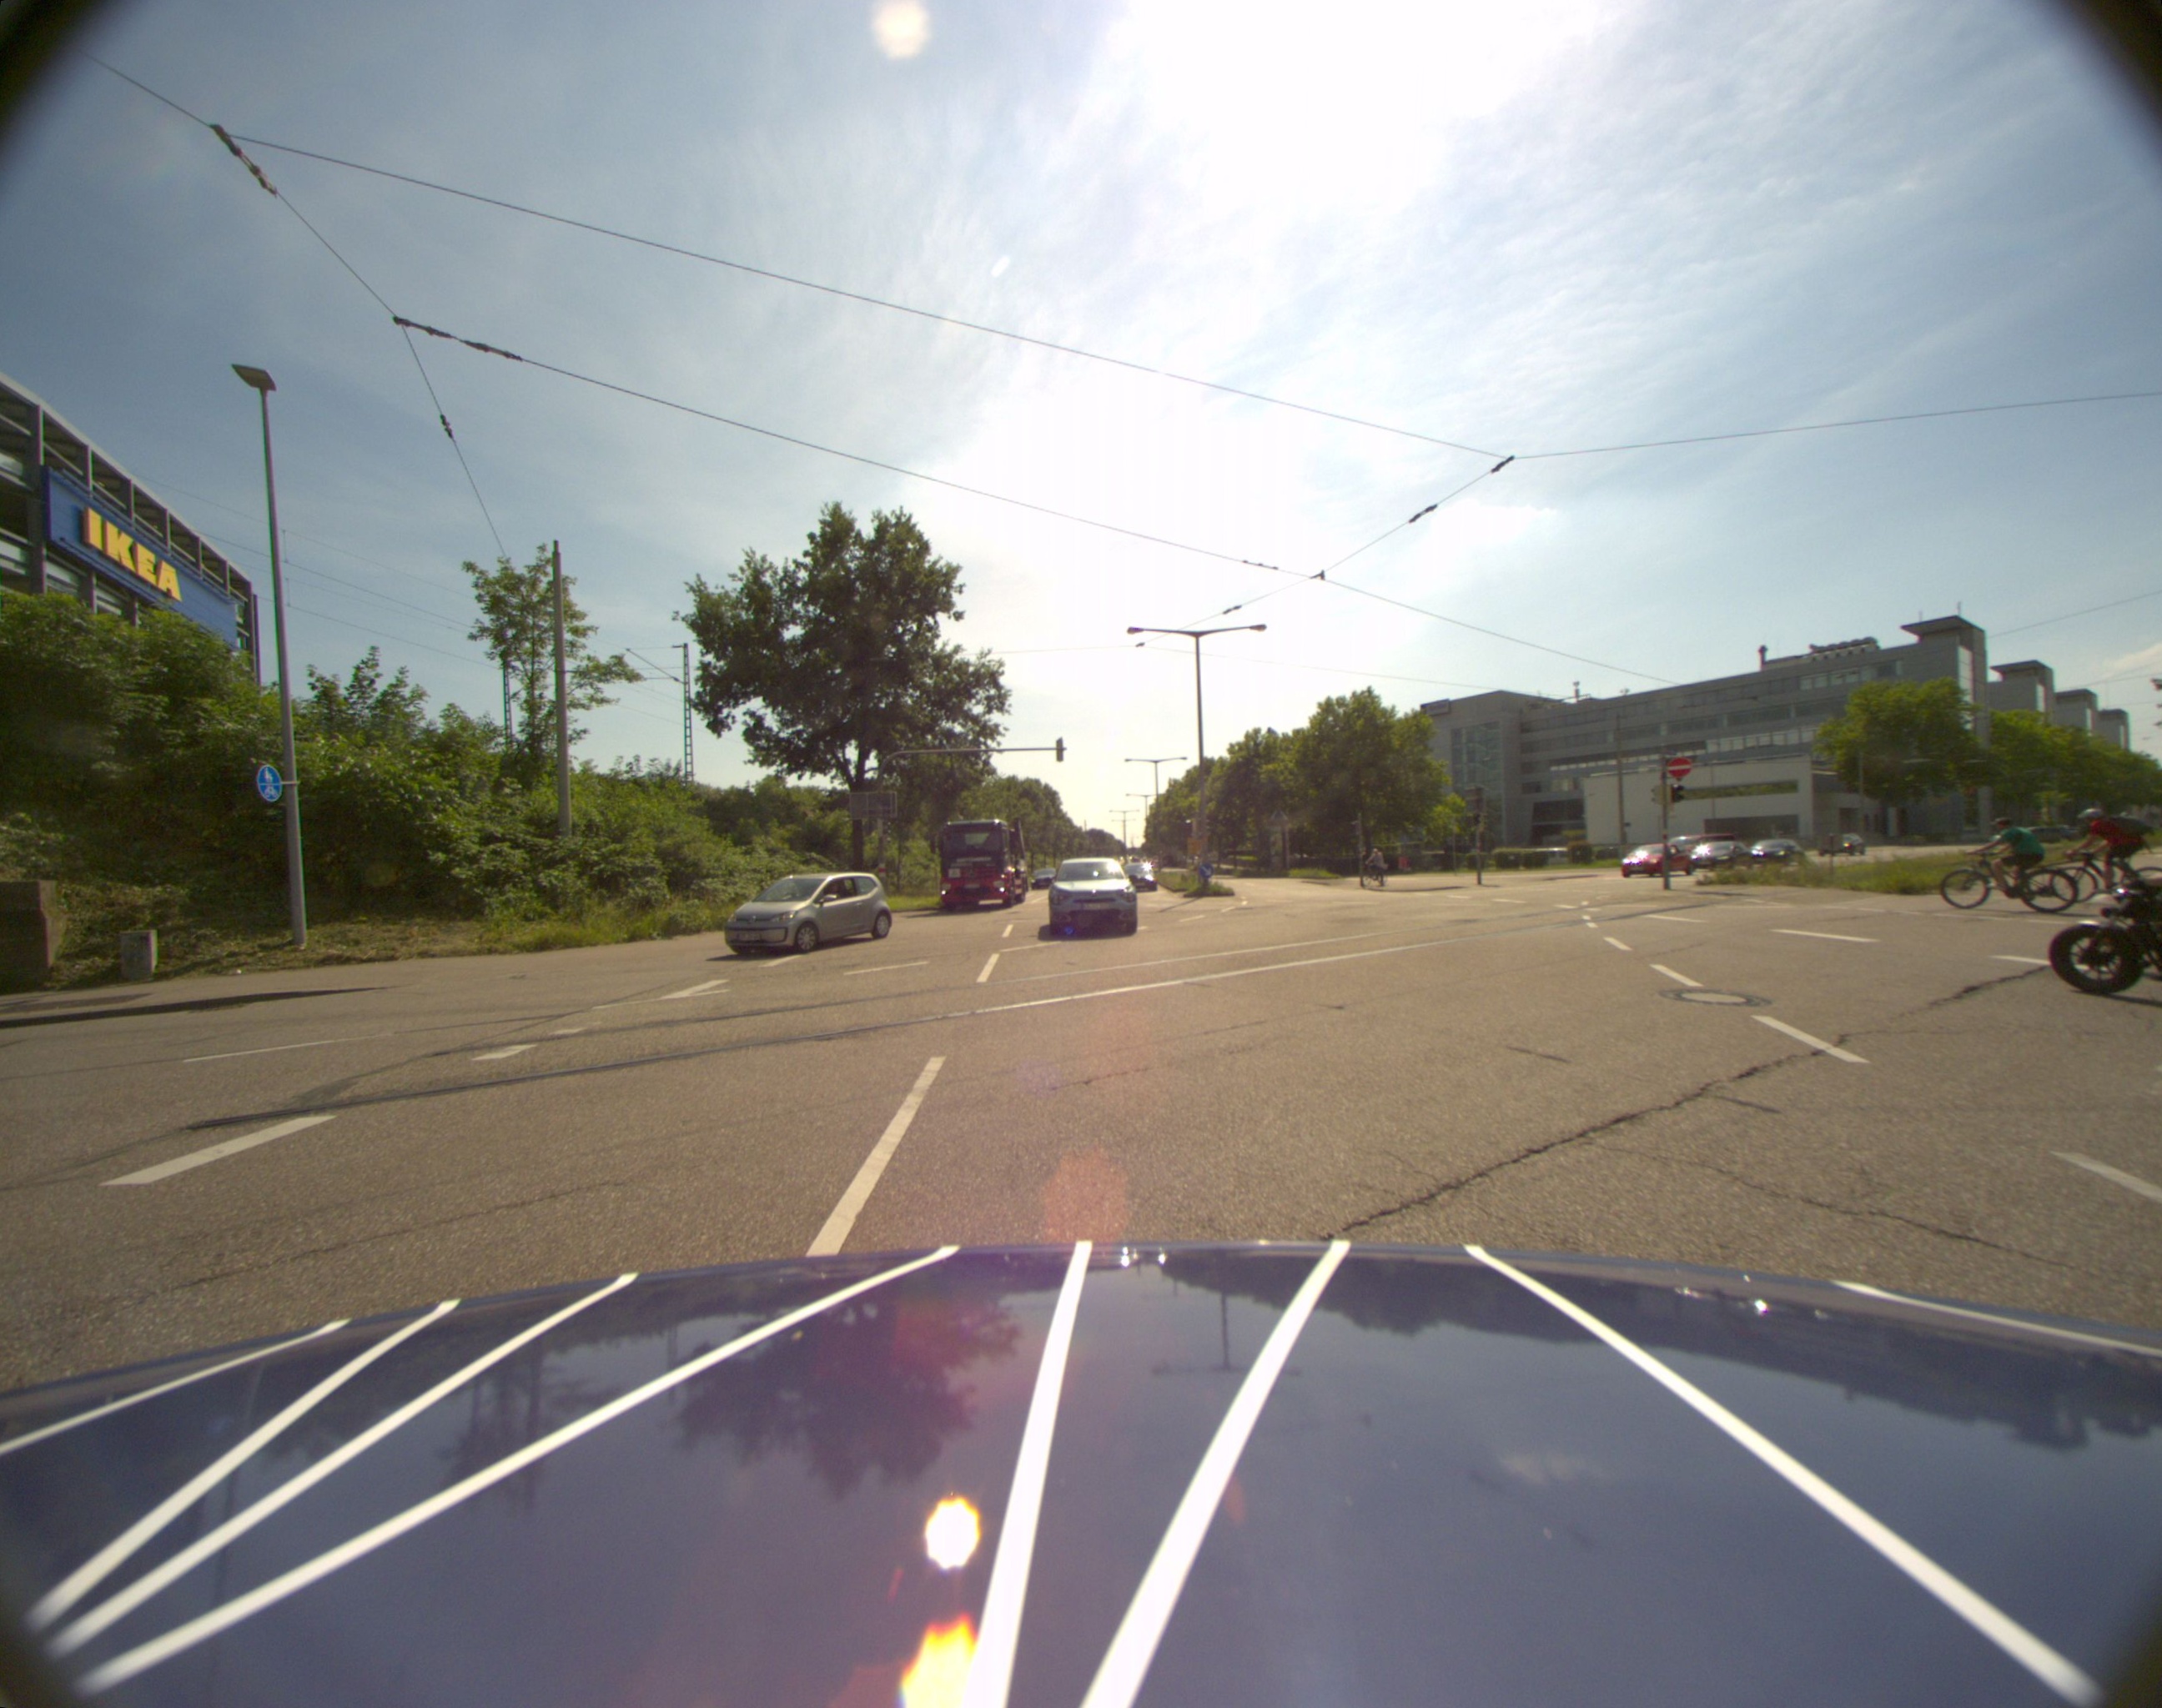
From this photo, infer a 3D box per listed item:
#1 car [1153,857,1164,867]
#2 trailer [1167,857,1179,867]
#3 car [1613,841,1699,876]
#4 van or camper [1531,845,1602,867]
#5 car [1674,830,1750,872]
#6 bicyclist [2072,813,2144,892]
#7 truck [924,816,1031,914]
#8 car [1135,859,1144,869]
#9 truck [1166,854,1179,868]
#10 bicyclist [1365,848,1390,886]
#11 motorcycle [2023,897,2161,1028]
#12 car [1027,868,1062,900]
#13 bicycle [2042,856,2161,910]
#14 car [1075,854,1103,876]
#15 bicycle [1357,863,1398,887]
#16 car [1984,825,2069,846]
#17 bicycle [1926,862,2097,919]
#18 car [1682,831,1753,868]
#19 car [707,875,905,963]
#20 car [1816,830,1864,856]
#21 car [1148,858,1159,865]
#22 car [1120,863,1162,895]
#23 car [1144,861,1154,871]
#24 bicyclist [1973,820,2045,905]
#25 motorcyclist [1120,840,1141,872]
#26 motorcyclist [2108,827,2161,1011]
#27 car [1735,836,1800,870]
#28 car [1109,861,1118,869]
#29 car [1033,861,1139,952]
[{"bbox_3d":[13.240,1.371,129.955,1.653,1.505,3.737,-2,0,2],"label":"car"},{"bbox_3d":[17.377,1.455,143.495,2.066,1.705,3.993,-2,0,7],"label":"trailer"},{"bbox_3d":[26.033,0.189,34.359,4.007,1.441,1.843,-2,0,-33],"label":"car"},{"bbox_3d":[40.021,0.197,62.722,2.003,1.682,4.501,-2,0,-35],"label":"van or camper"},{"bbox_3d":[37.136,-0.189,44.689,5.050,2.265,2.147,-2,0,-35],"label":"car"},{"bbox_3d":[19.025,-0.028,14.081,0.529,1.406,0.609,-2,0,-12],"label":"bicyclist"},{"bbox_3d":[-3.762,0.394,29.521,2.775,3.247,7.484,-2,0,2],"label":"truck"},{"bbox_3d":[13.334,2.279,173.314,1.998,2.002,4.001,-2,0,3],"label":"car"},{"bbox_3d":[17.923,1.351,148.986,2.143,2.460,7.134,-2,-1,10],"label":"truck"},{"bbox_3d":[14.255,0.638,36.531,0.769,1.778,0.704,-2,0,-27],"label":"bicyclist"},{"bbox_3d":[8.998,0.894,5.881,0.689,0.985,2.218,-2,0,3],"label":"motorcycle"},{"bbox_3d":[-2.453,2.033,52.179,1.998,2.002,4.001,-2,0,2],"label":"car"},{"bbox_3d":[19.082,0.513,13.951,0.435,0.932,1.749,-2,0,-12],"label":"bicycle"},{"bbox_3d":[0.645,0.830,56.894,1.825,1.521,4.549,-2,0,4],"label":"car"},{"bbox_3d":[14.276,1.009,36.557,2.168,1.058,0.524,-2,0,-27],"label":"bicycle"},{"bbox_3d":[78.153,-1.518,62.915,4.211,1.435,1.793,-3,0,44],"label":"car"},{"bbox_3d":[16.754,0.630,13.766,0.417,0.932,1.996,-2,0,-9],"label":"bicycle"},{"bbox_3d":[31.786,-0.223,37.917,4.007,1.689,1.995,-2,0,-40],"label":"car"},{"bbox_3d":[-5.337,1.213,15.268,1.702,1.429,3.683,-2,0,20],"label":"car"},{"bbox_3d":[54.246,-0.780,54.294,4.007,1.689,1.995,-2,-1,-39],"label":"car"},{"bbox_3d":[14.432,1.497,151.257,1.852,1.426,3.767,-2,0,2],"label":"car"},{"bbox_3d":[2.883,1.171,37.242,1.730,1.354,4.068,-4,0,1],"label":"car"},{"bbox_3d":[14.597,2.617,162.812,1.998,2.002,4.001,-2,0,3],"label":"car"},{"bbox_3d":[16.737,0.150,13.710,0.529,1.482,0.609,-2,0,-9],"label":"bicyclist"},{"bbox_3d":[2.692,0.096,41.690,1.066,1.689,1.042,-2,0,2],"label":"motorcyclist"},{"bbox_3d":[8.955,0.506,5.836,0.745,1.461,0.988,-2,0,2],"label":"motorcyclist"},{"bbox_3d":[37.587,-0.059,41.596,4.007,1.689,1.995,-2,0,-39],"label":"car"},{"bbox_3d":[8.217,2.733,192.352,1.998,2.002,4.001,-2,0,3],"label":"car"},{"bbox_3d":[0.245,0.965,15.882,1.825,1.521,4.753,-2,0,4],"label":"car"}]
